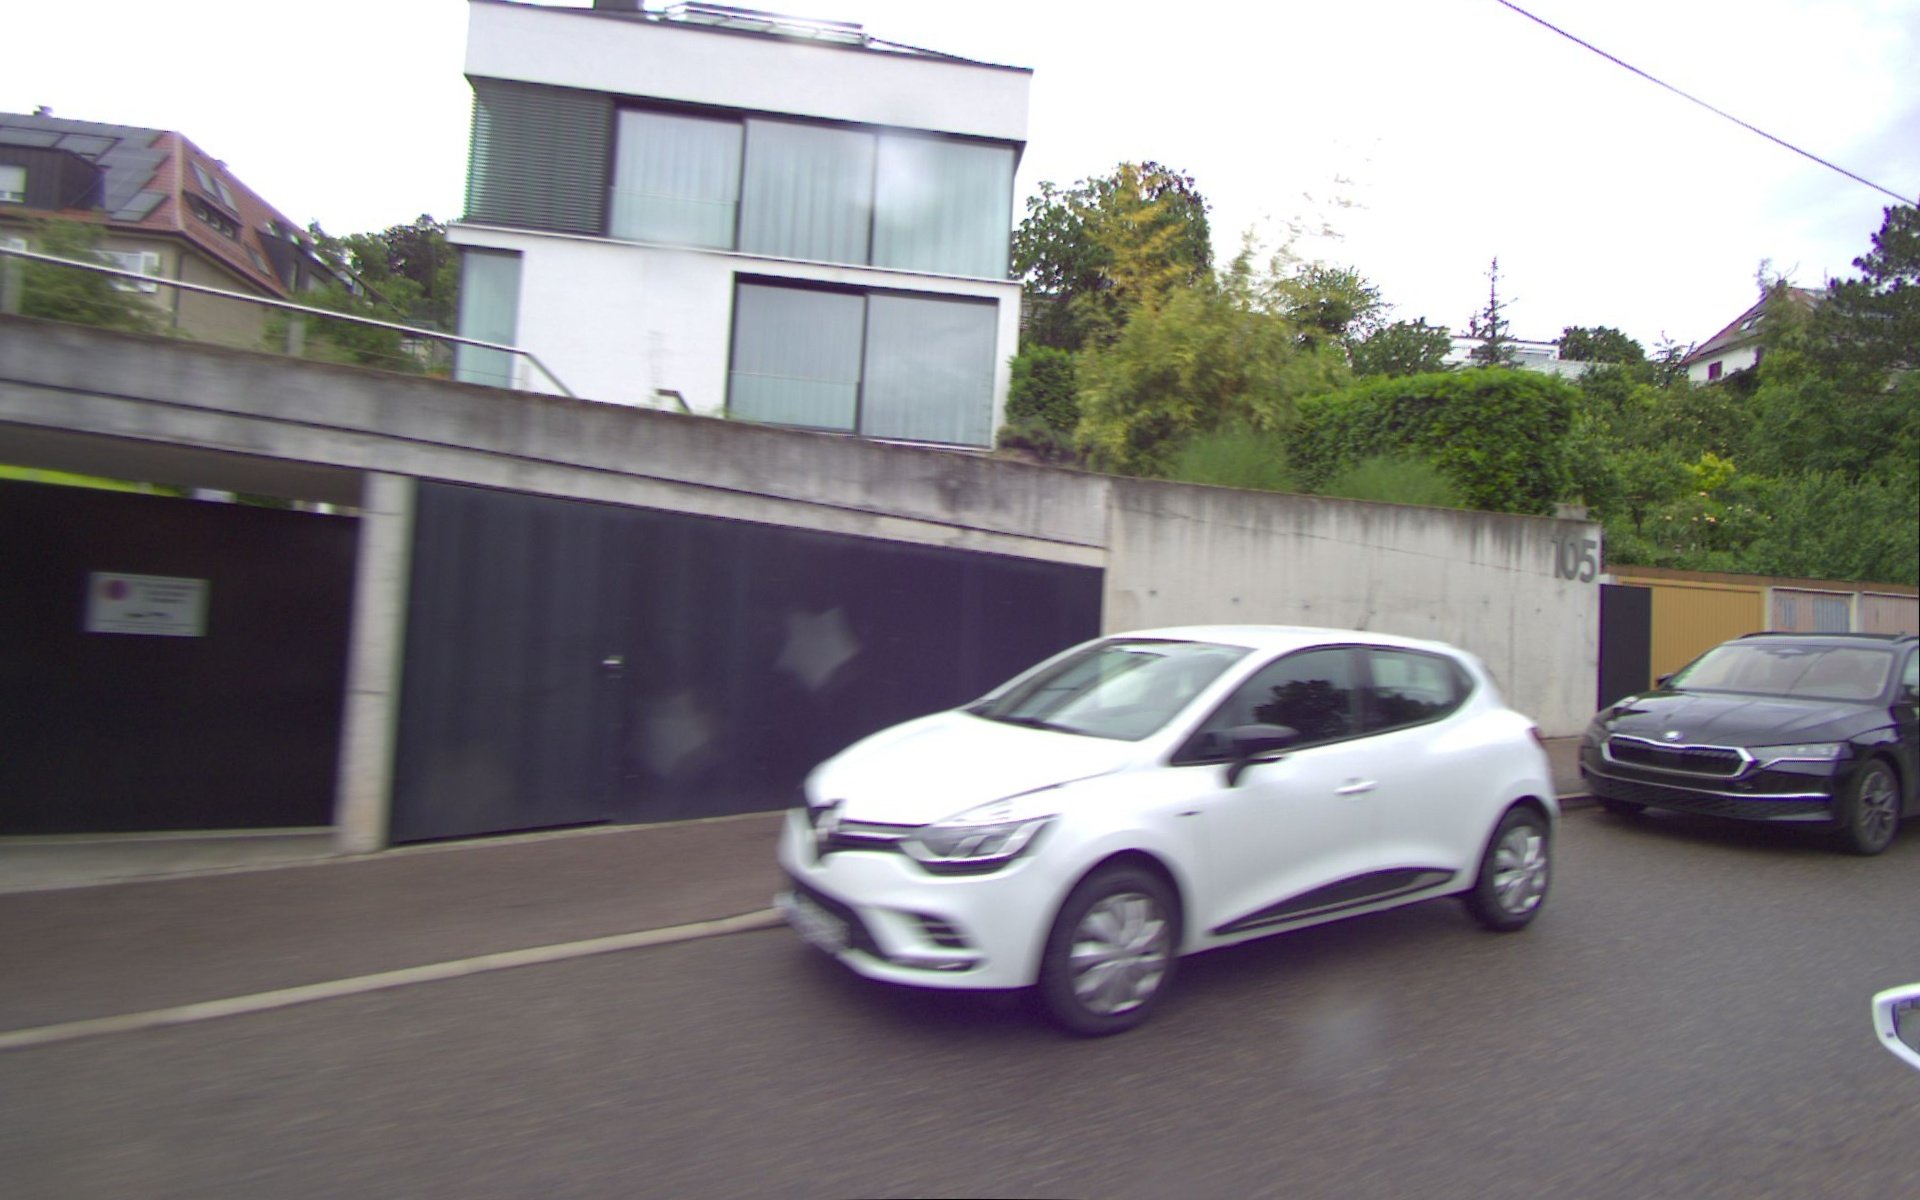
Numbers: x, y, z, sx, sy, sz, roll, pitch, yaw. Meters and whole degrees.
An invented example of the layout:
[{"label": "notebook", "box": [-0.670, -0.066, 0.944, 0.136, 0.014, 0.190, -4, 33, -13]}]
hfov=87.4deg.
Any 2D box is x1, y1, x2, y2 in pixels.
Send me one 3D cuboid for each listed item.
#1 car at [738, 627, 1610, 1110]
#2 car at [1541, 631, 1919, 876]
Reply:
[{"label": "car", "box": [1.150, 0.888, 4.887, 3.993, 1.459, 1.823, 2, -2, -31]}, {"label": "car", "box": [6.871, 1.024, 8.013, 4.624, 1.478, 1.706, 2, -1, -28]}]
